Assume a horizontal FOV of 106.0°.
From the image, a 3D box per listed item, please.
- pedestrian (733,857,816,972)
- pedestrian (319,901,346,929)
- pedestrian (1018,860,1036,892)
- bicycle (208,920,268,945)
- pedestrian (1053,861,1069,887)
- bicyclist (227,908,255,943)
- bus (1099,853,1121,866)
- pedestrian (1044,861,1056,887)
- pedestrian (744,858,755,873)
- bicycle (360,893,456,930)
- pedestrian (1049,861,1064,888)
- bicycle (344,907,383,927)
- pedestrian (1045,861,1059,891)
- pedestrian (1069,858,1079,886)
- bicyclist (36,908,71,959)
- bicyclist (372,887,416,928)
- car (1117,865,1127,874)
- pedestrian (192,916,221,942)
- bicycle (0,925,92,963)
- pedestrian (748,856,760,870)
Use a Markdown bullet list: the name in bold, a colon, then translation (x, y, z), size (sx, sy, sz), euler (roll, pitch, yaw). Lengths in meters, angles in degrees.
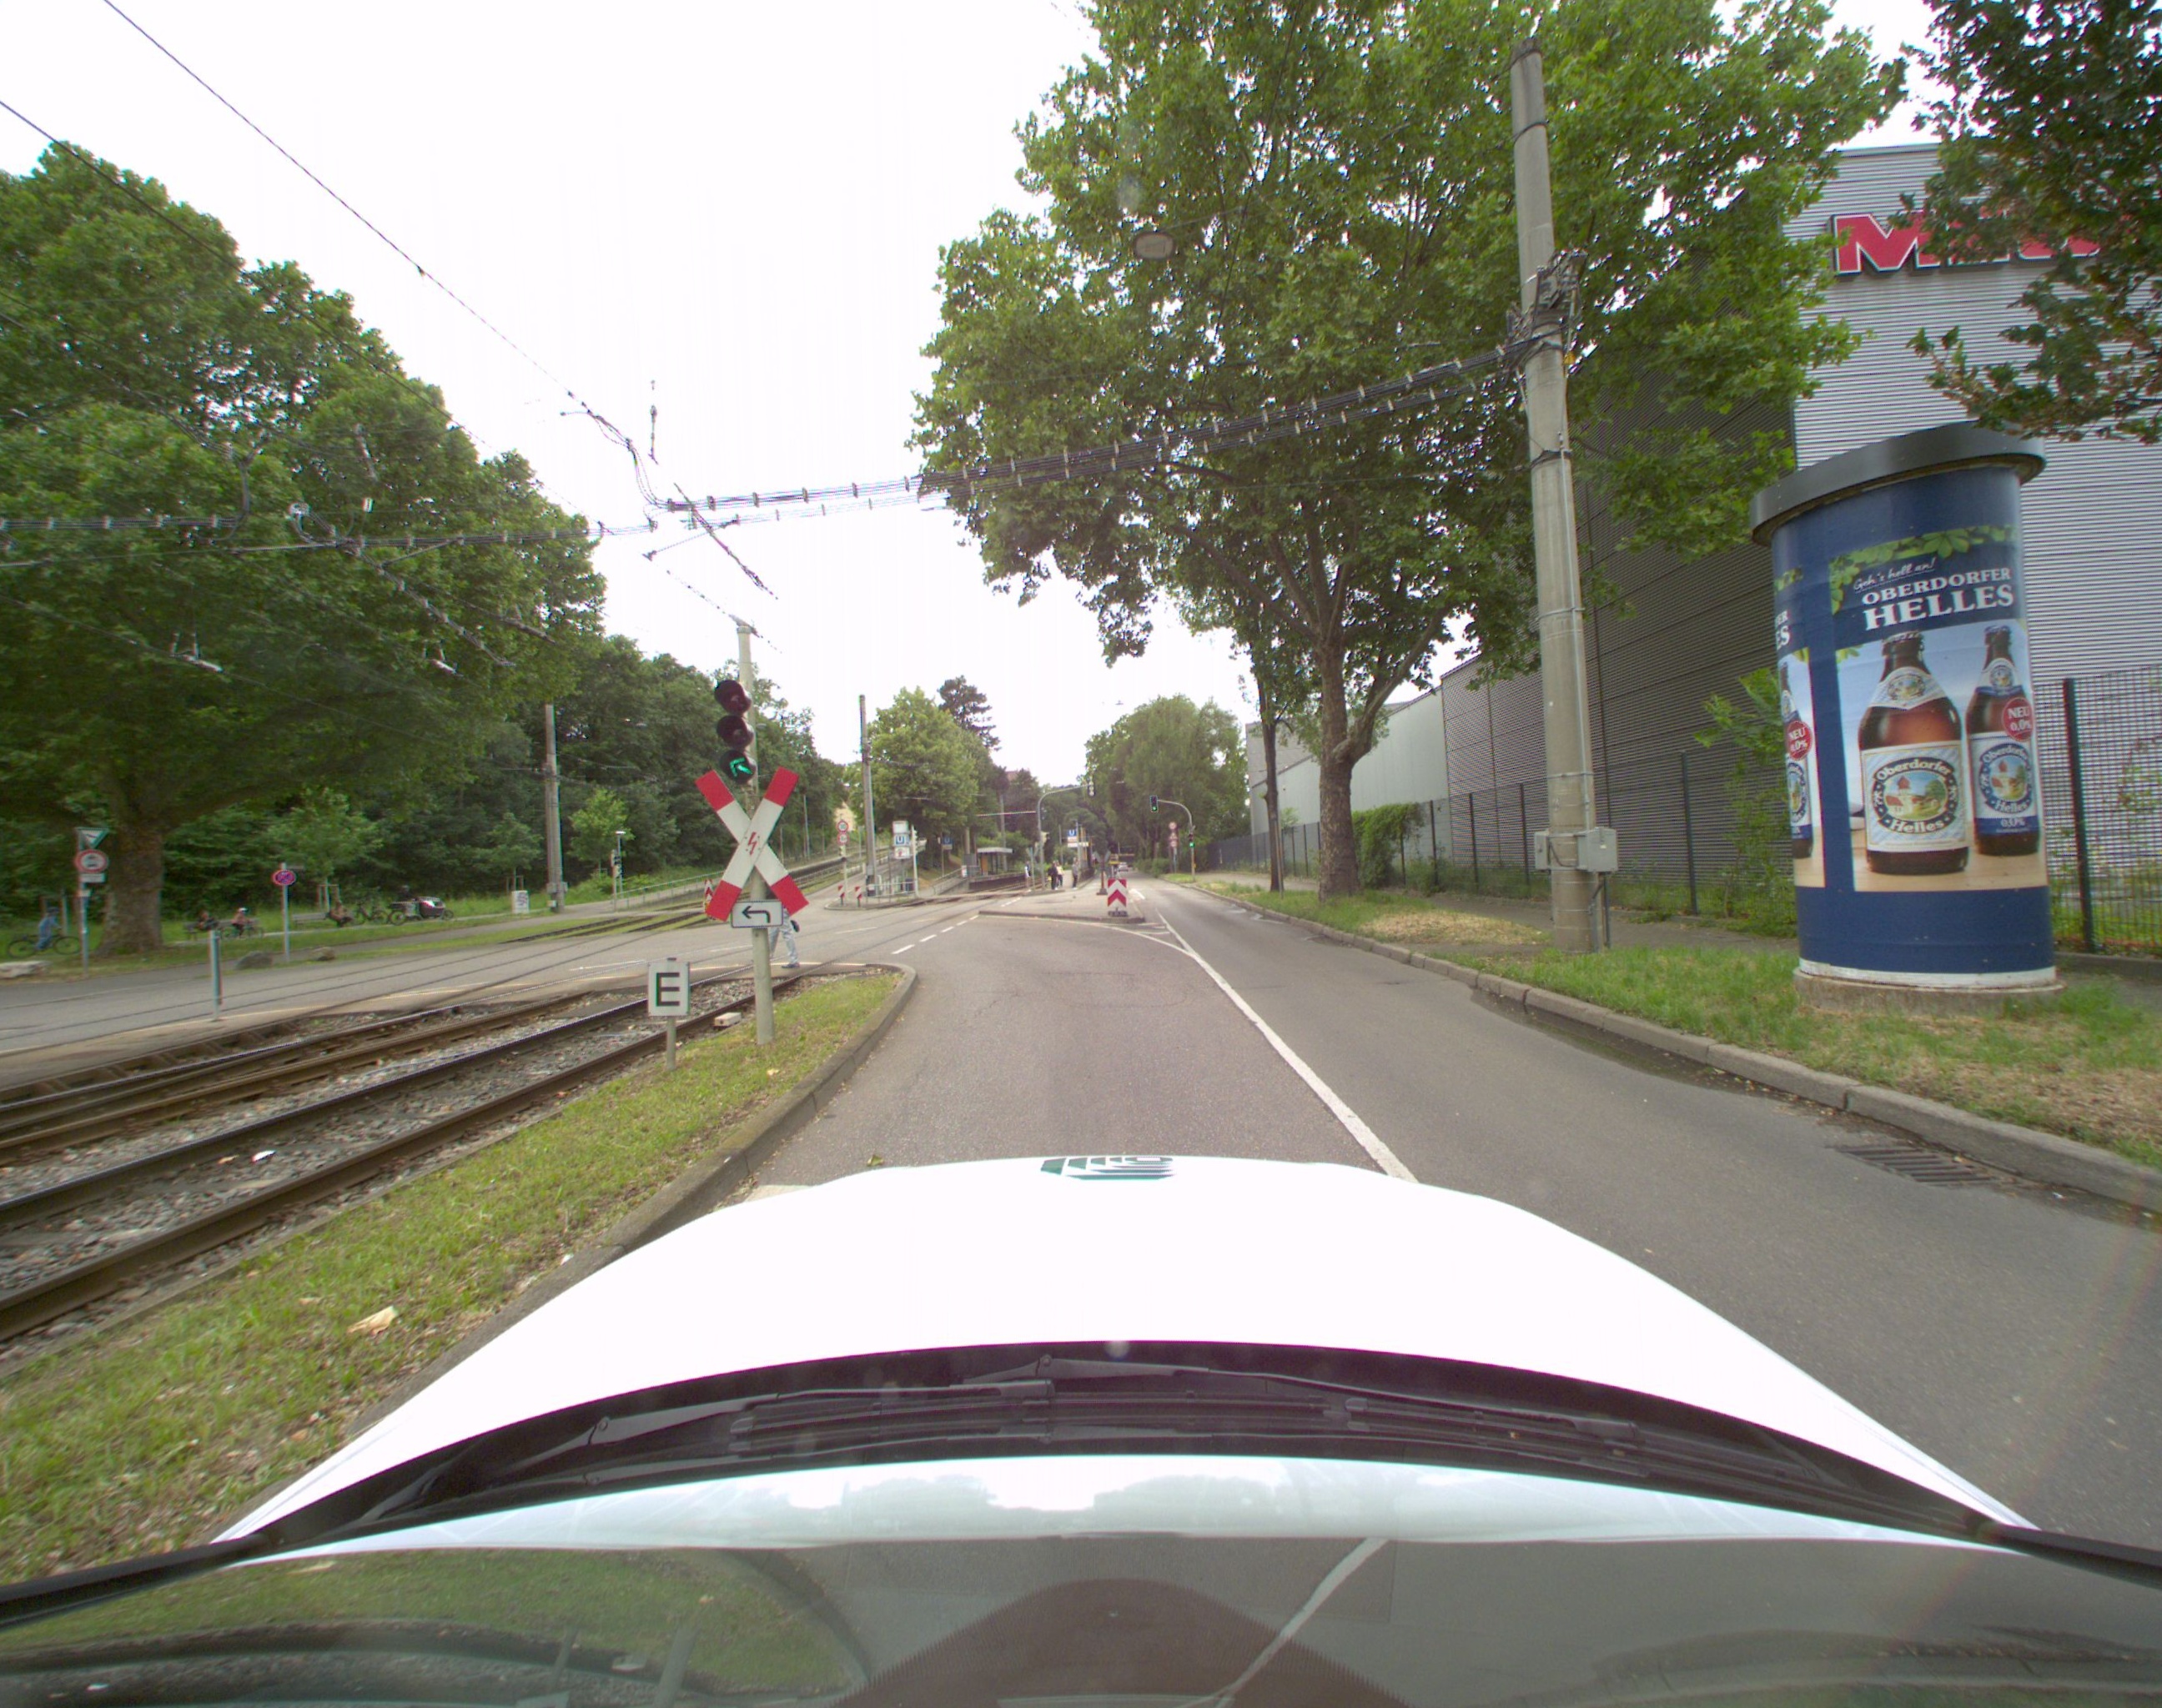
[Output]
- **pedestrian**: translation (-4.908, 0.940, 13.105), size (1.118, 1.760, 0.810), euler (0, -1, -12)
- **pedestrian**: translation (-33.583, 2.738, 36.542), size (0.574, 1.235, 0.676), euler (-1, -1, 15)
- **pedestrian**: translation (-3.119, 1.244, 47.124), size (0.809, 1.821, 0.662), euler (1, -1, -40)
- **bicycle**: translation (-33.298, 3.107, 32.200), size (0.449, 0.738, 1.568), euler (1, 4, 21)
- **pedestrian**: translation (-1.264, 1.281, 52.069), size (0.741, 1.665, 0.674), euler (0, -1, -37)
- **bicyclist**: translation (-33.275, 2.825, 32.251), size (0.449, 1.301, 0.584), euler (1, 4, 21)
- **bus**: translation (7.891, 1.489, 217.314), size (2.710, 3.626, 8.991), euler (-1, -1, 23)
- **pedestrian**: translation (-2.038, 1.314, 53.389), size (0.735, 1.665, 0.679), euler (0, -1, -9)
- **pedestrian**: translation (-30.634, 1.033, 75.290), size (0.771, 1.326, 0.785), euler (0, 1, -6)
- **bicycle**: translation (-30.911, 2.595, 37.525), size (0.726, 1.289, 3.367), euler (1, 3, 26)
- **pedestrian**: translation (-1.473, 1.250, 49.450), size (0.674, 1.665, 0.741), euler (-1, -1, 17)
- **bicycle**: translation (-33.472, 2.916, 37.967), size (1.726, 0.885, 0.625), euler (-1, -1, 21)
- **pedestrian**: translation (-1.668, 1.255, 46.585), size (0.732, 1.665, 0.682), euler (0, -1, 3)
- **pedestrian**: translation (-0.421, 1.103, 50.409), size (0.547, 1.758, 0.739), euler (-1, -1, 6)
- **bicyclist**: translation (-35.827, 2.759, 28.399), size (0.469, 1.674, 0.627), euler (0, 1, 27)
- **bicyclist**: translation (-31.182, 2.406, 36.974), size (0.726, 1.711, 1.300), euler (1, 3, 26)
- **car**: translation (7.249, 2.767, 144.492), size (1.737, 1.599, 4.001), euler (0, -1, 2)
- **pedestrian**: translation (-35.194, 3.009, 32.783), size (0.526, 0.989, 0.623), euler (-1, -1, 17)
- **bicycle**: translation (-35.907, 3.092, 28.260), size (0.469, 1.041, 1.957), euler (0, 2, 27)
- **pedestrian**: translation (-30.656, 0.816, 76.361), size (0.771, 1.326, 0.785), euler (0, -1, -6)
